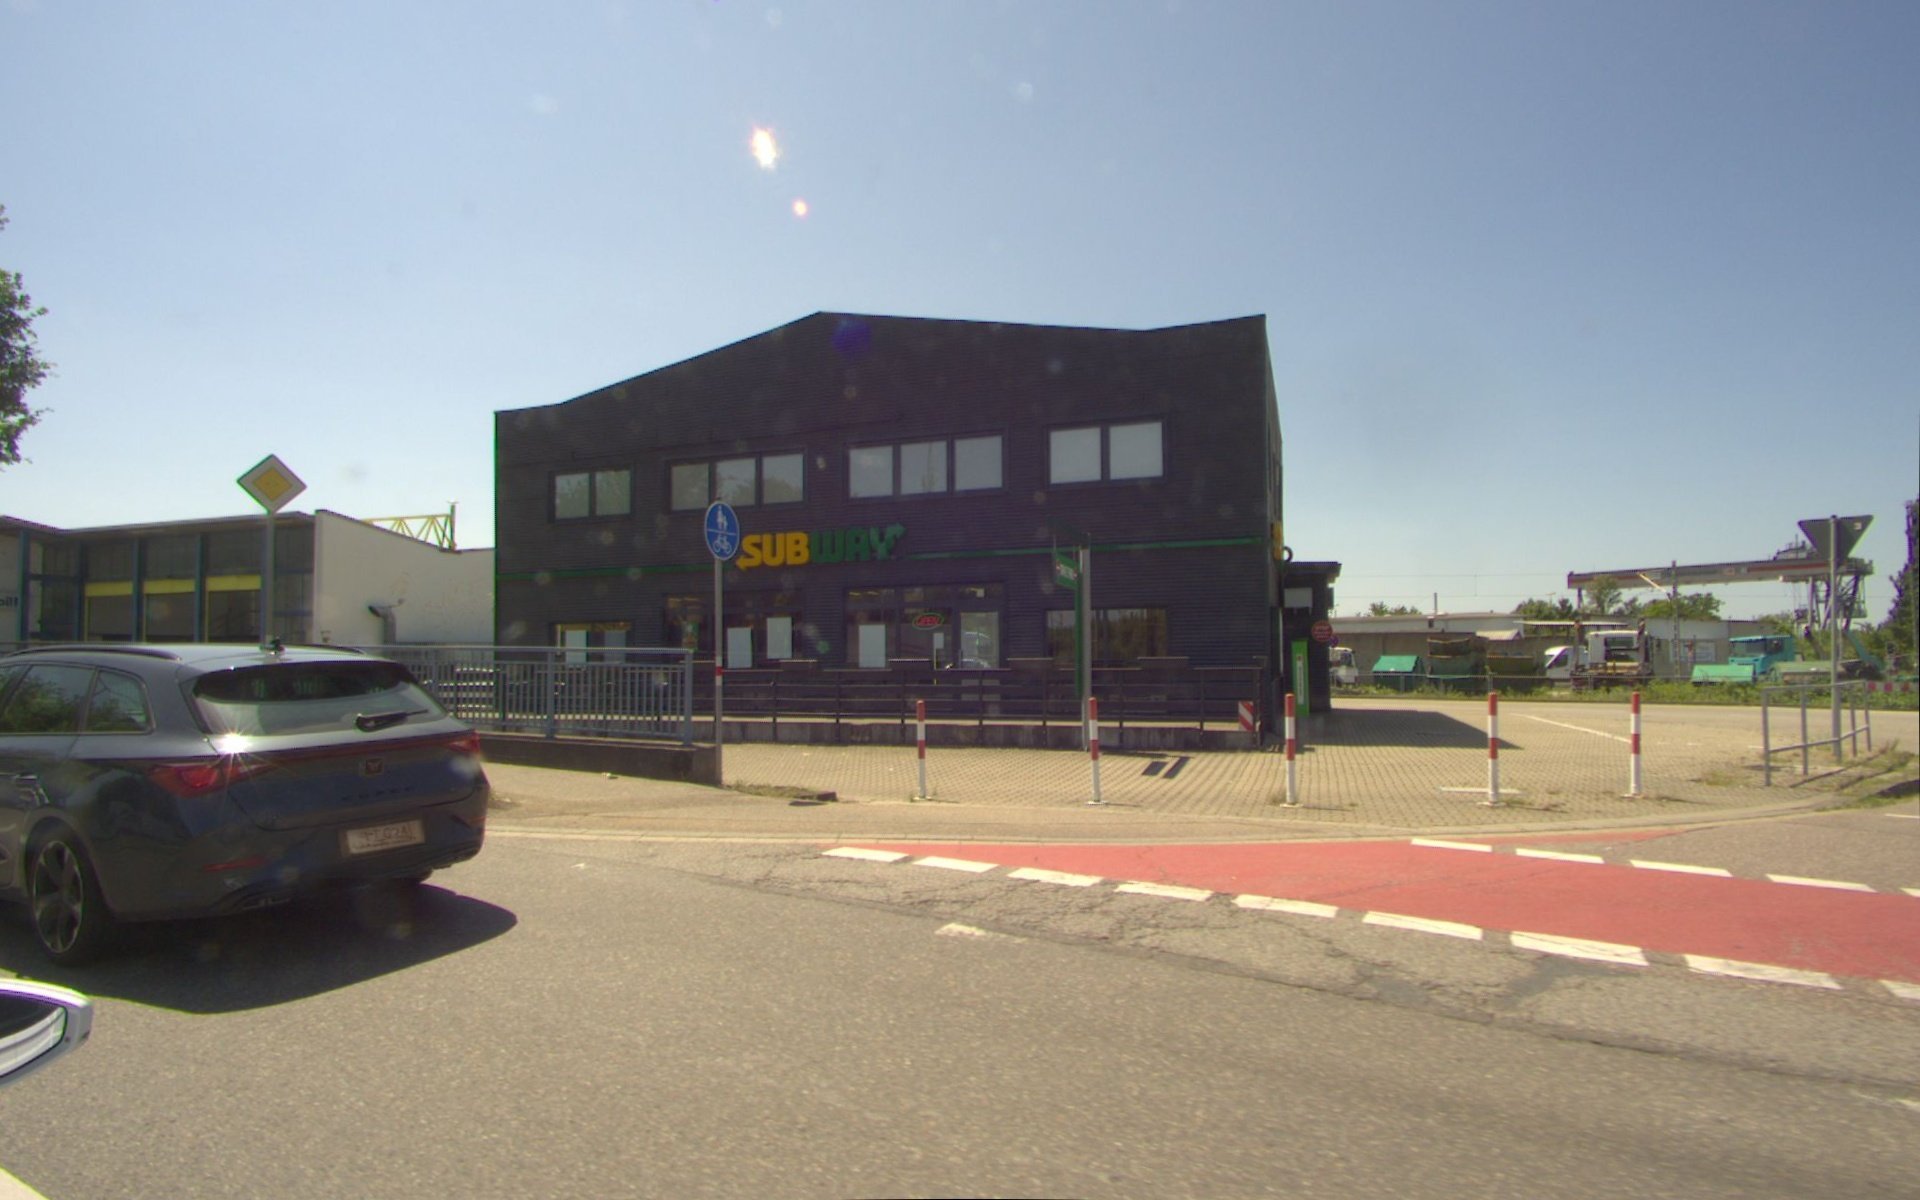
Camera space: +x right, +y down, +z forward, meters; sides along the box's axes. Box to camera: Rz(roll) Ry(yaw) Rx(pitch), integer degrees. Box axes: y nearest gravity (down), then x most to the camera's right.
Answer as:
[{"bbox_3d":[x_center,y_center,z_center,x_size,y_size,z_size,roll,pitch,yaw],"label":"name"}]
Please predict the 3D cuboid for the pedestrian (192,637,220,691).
[{"bbox_3d":[-24.121,2.046,32.052,0.480,1.724,0.522,-1,-2,21],"label":"pedestrian"}]

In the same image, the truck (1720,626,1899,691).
[{"bbox_3d":[45.842,3.135,54.171,7.410,3.411,2.805,0,-2,-3],"label":"truck"}]

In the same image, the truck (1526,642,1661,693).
[{"bbox_3d":[36.138,3.829,57.297,5.991,2.825,2.653,0,-2,1],"label":"truck"}]

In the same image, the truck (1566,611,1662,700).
[{"bbox_3d":[27.625,2.312,42.138,2.689,3.423,7.353,-1,-3,38],"label":"truck"}]

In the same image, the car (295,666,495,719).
[{"bbox_3d":[-16.646,2.685,29.724,5.012,1.375,1.990,1,-3,-31],"label":"car"}]

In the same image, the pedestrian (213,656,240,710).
[{"bbox_3d":[-23.551,2.663,32.136,0.579,1.724,0.426,-1,-2,20],"label":"pedestrian"}]

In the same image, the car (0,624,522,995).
[{"bbox_3d":[-4.604,0.916,5.653,4.168,1.474,1.605,-1,-2,26],"label":"car"}]

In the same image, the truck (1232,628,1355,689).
[{"bbox_3d":[17.720,3.104,53.604,5.996,3.132,2.650,-1,-2,13],"label":"truck"}]
